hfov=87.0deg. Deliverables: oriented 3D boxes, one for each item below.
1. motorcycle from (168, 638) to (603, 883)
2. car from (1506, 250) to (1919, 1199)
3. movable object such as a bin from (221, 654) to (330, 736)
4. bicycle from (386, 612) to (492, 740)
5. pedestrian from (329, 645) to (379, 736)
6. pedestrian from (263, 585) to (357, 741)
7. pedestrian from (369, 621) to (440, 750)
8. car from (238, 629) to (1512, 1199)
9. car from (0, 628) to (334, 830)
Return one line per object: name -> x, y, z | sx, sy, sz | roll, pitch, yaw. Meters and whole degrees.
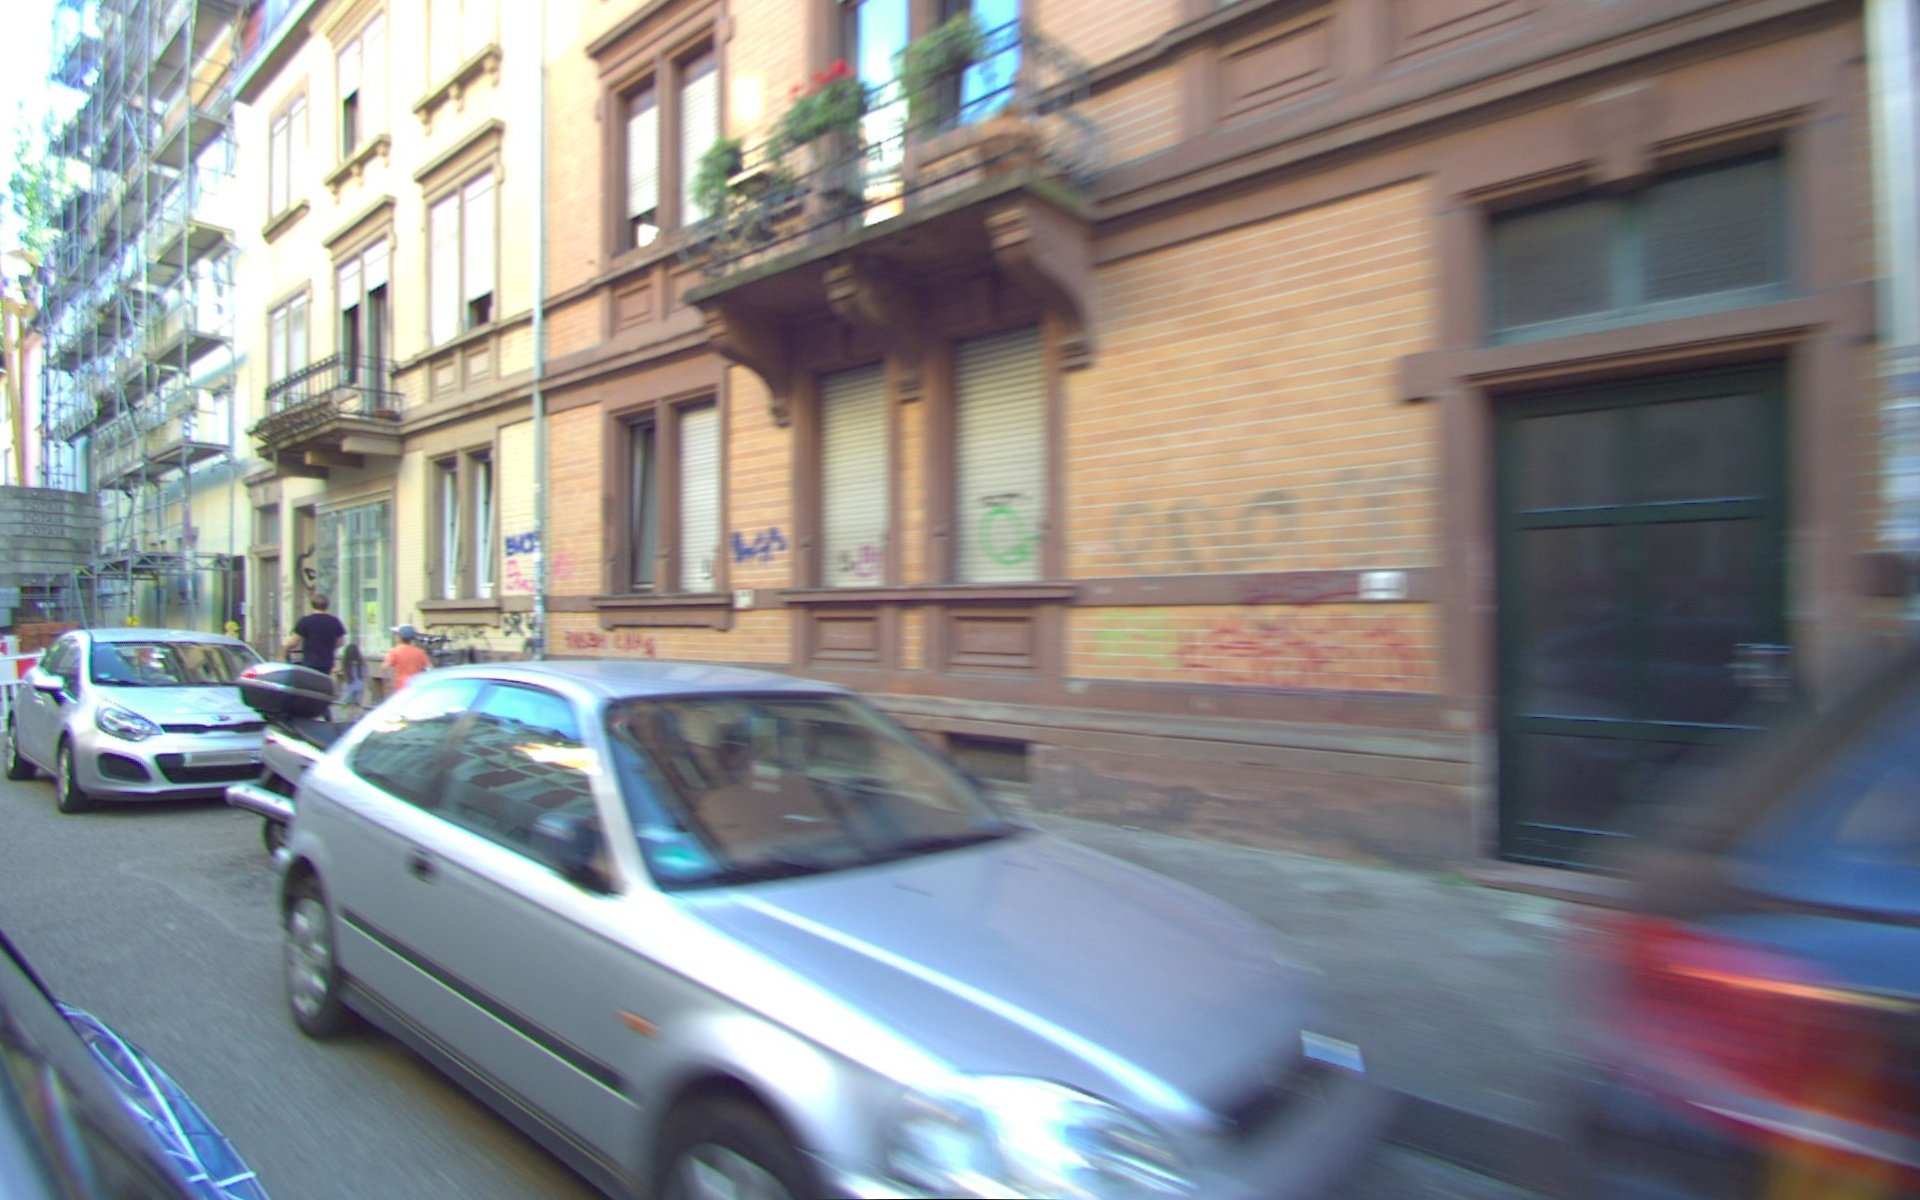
motorcycle -> -3.478, 0.956, 6.308 | 2.165, 1.370, 0.844 | 1, -3, -2
car -> 2.880, 0.480, 0.183 | 4.606, 1.636, 1.769 | -1, 0, 42
movable object such as a bin -> -8.670, 1.173, 12.807 | 1.413, 0.939, 0.754 | -1, -2, 38
bicycle -> -6.389, 0.883, 12.373 | 1.711, 1.436, 0.519 | -1, 2, 42
pedestrian -> -7.557, 1.113, 12.614 | 0.431, 1.095, 0.390 | -1, -1, 35
pedestrian -> -7.771, 0.727, 12.100 | 0.886, 1.778, 0.679 | -1, -2, 38
pedestrian -> -5.847, 0.879, 10.652 | 0.646, 1.293, 0.445 | -1, 0, 41
car -> -0.680, 0.825, 3.207 | 3.998, 1.323, 1.681 | -1, 2, 41
car -> -7.319, 0.981, 9.125 | 3.997, 1.430, 1.657 | -1, -3, 40
